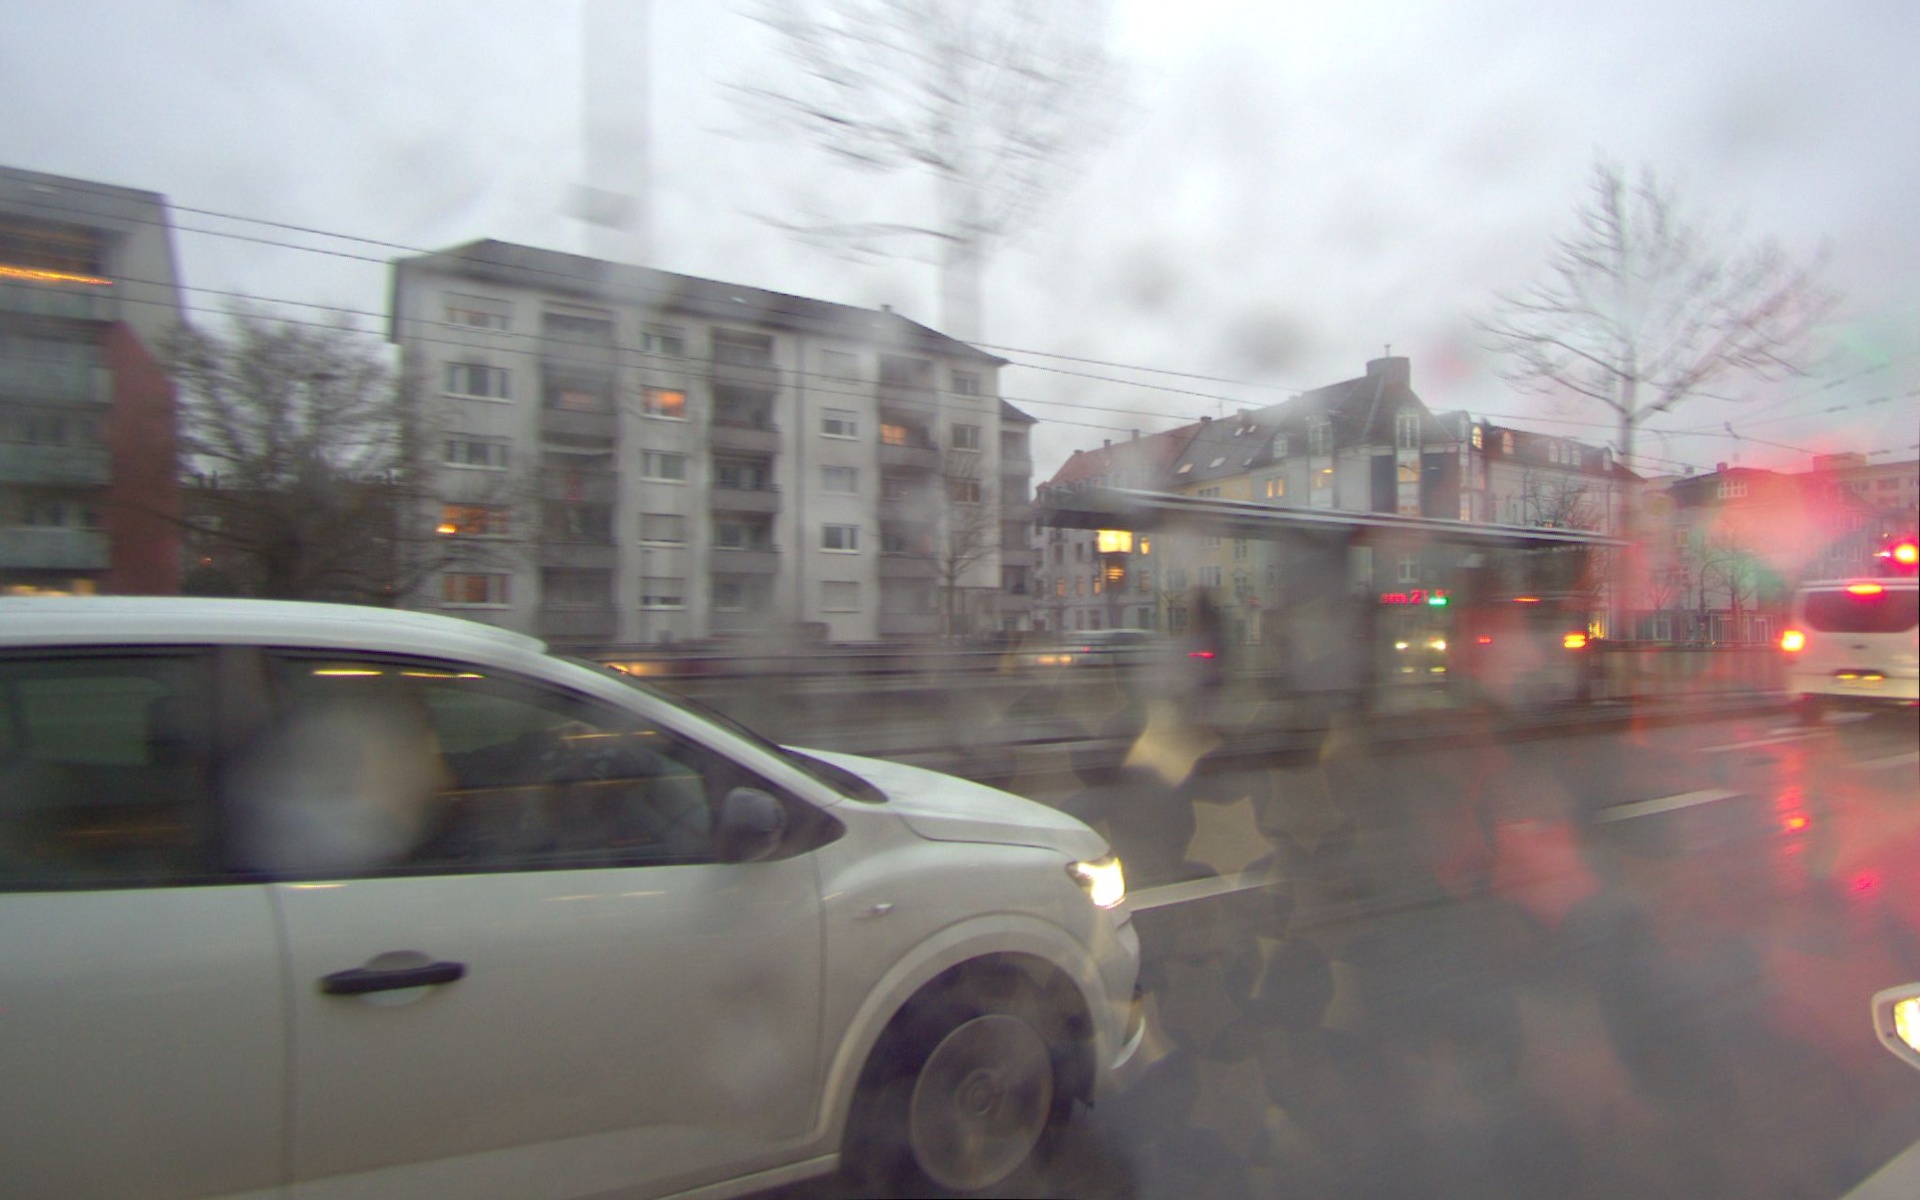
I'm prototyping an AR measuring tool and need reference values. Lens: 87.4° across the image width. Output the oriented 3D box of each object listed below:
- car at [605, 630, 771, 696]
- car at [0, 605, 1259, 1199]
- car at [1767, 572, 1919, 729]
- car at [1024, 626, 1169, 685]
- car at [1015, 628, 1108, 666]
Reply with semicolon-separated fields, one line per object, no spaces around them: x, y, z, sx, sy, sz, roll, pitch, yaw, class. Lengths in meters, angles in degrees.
-6.838;1.550;25.297;3.714;1.517;1.751;2;-1;-30;car
-1.301;0.783;2.595;3.951;1.485;1.701;2;-1;-29;car
14.293;0.711;15.000;4.826;2.060;1.943;1;-1;-31;car
3.832;1.542;28.097;3.711;1.517;1.752;2;-1;-28;car
4.053;1.885;40.657;1.682;1.384;3.773;2;-1;-35;car
